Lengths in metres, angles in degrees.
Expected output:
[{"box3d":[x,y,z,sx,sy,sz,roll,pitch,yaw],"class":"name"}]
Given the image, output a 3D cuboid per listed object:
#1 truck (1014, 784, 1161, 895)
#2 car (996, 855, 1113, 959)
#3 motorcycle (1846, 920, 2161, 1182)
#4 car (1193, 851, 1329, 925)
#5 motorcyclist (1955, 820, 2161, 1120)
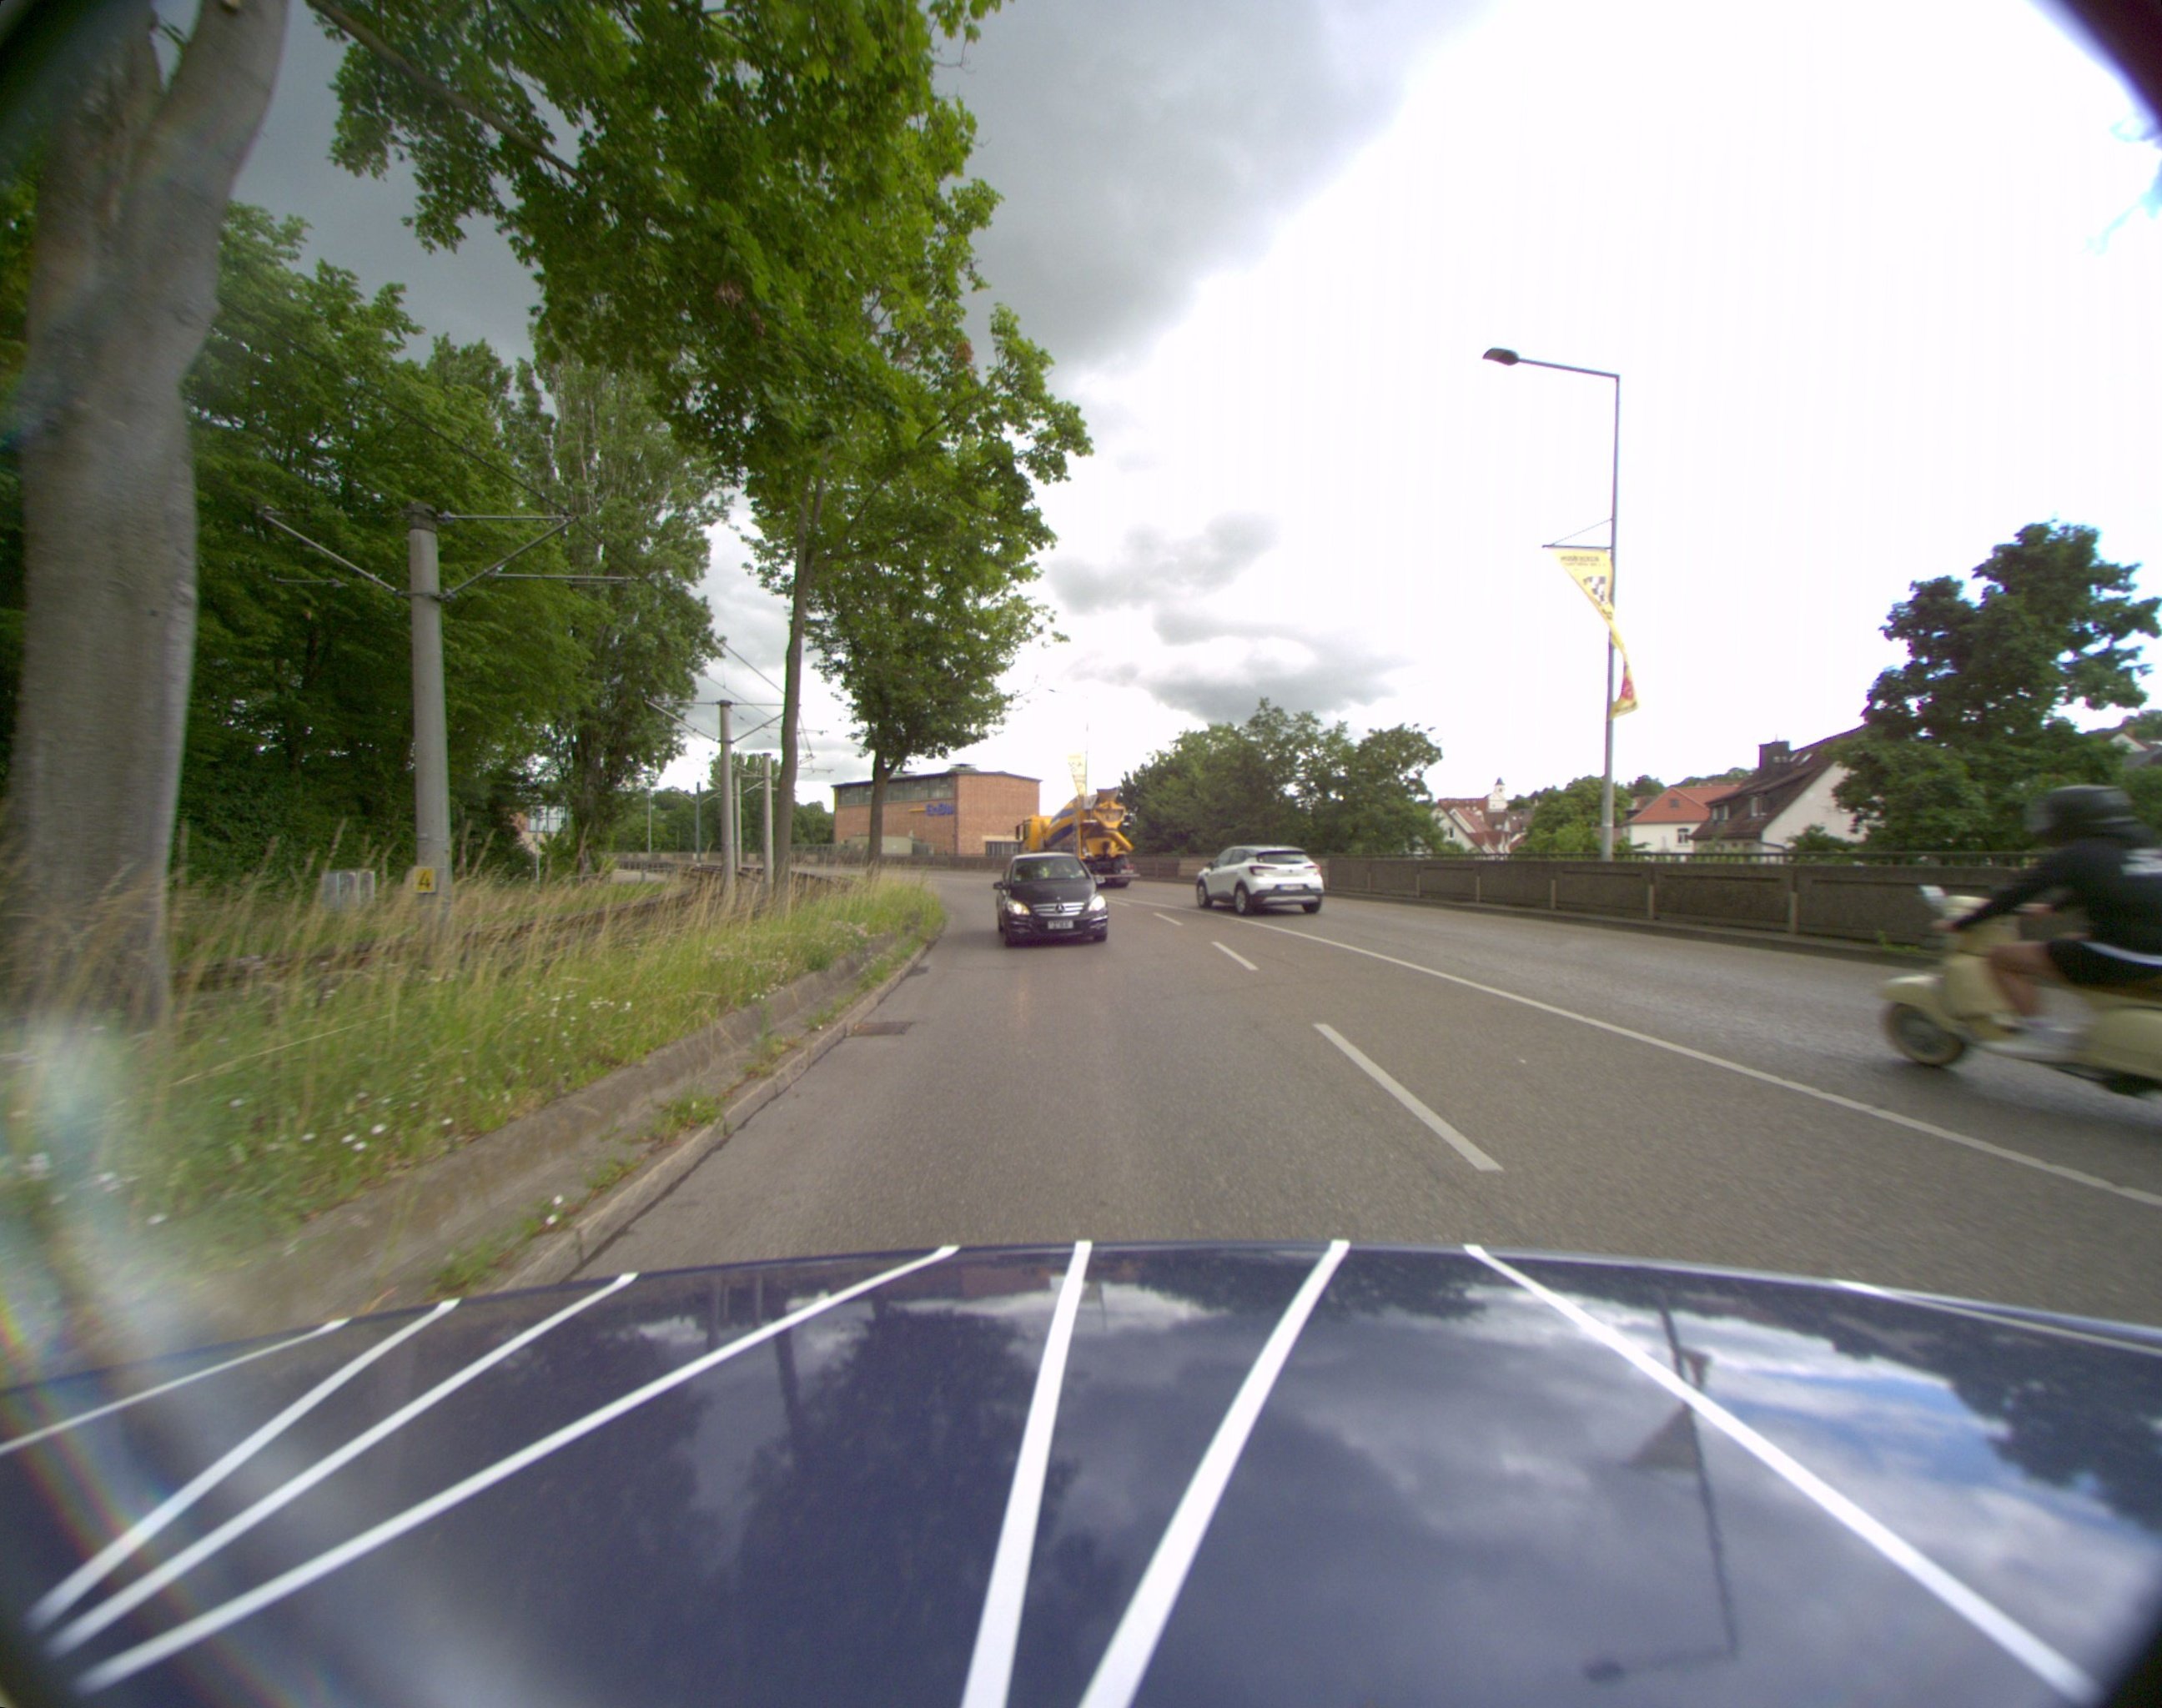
[{"box3d":[-0.133,-0.562,32.277,2.679,3.916,10.120,-3,1,-20],"class":"truck"},{"box3d":[-0.633,0.837,14.076,1.752,1.556,4.072,-2,1,-7],"class":"car"},{"box3d":[5.168,0.946,3.895,0.684,1.055,1.719,0,0,-5],"class":"motorcycle"},{"box3d":[4.048,0.692,17.679,1.753,1.478,3.651,-2,1,-10],"class":"car"},{"box3d":[5.132,0.518,3.767,0.621,1.348,0.840,-1,1,-5],"class":"motorcyclist"}]
